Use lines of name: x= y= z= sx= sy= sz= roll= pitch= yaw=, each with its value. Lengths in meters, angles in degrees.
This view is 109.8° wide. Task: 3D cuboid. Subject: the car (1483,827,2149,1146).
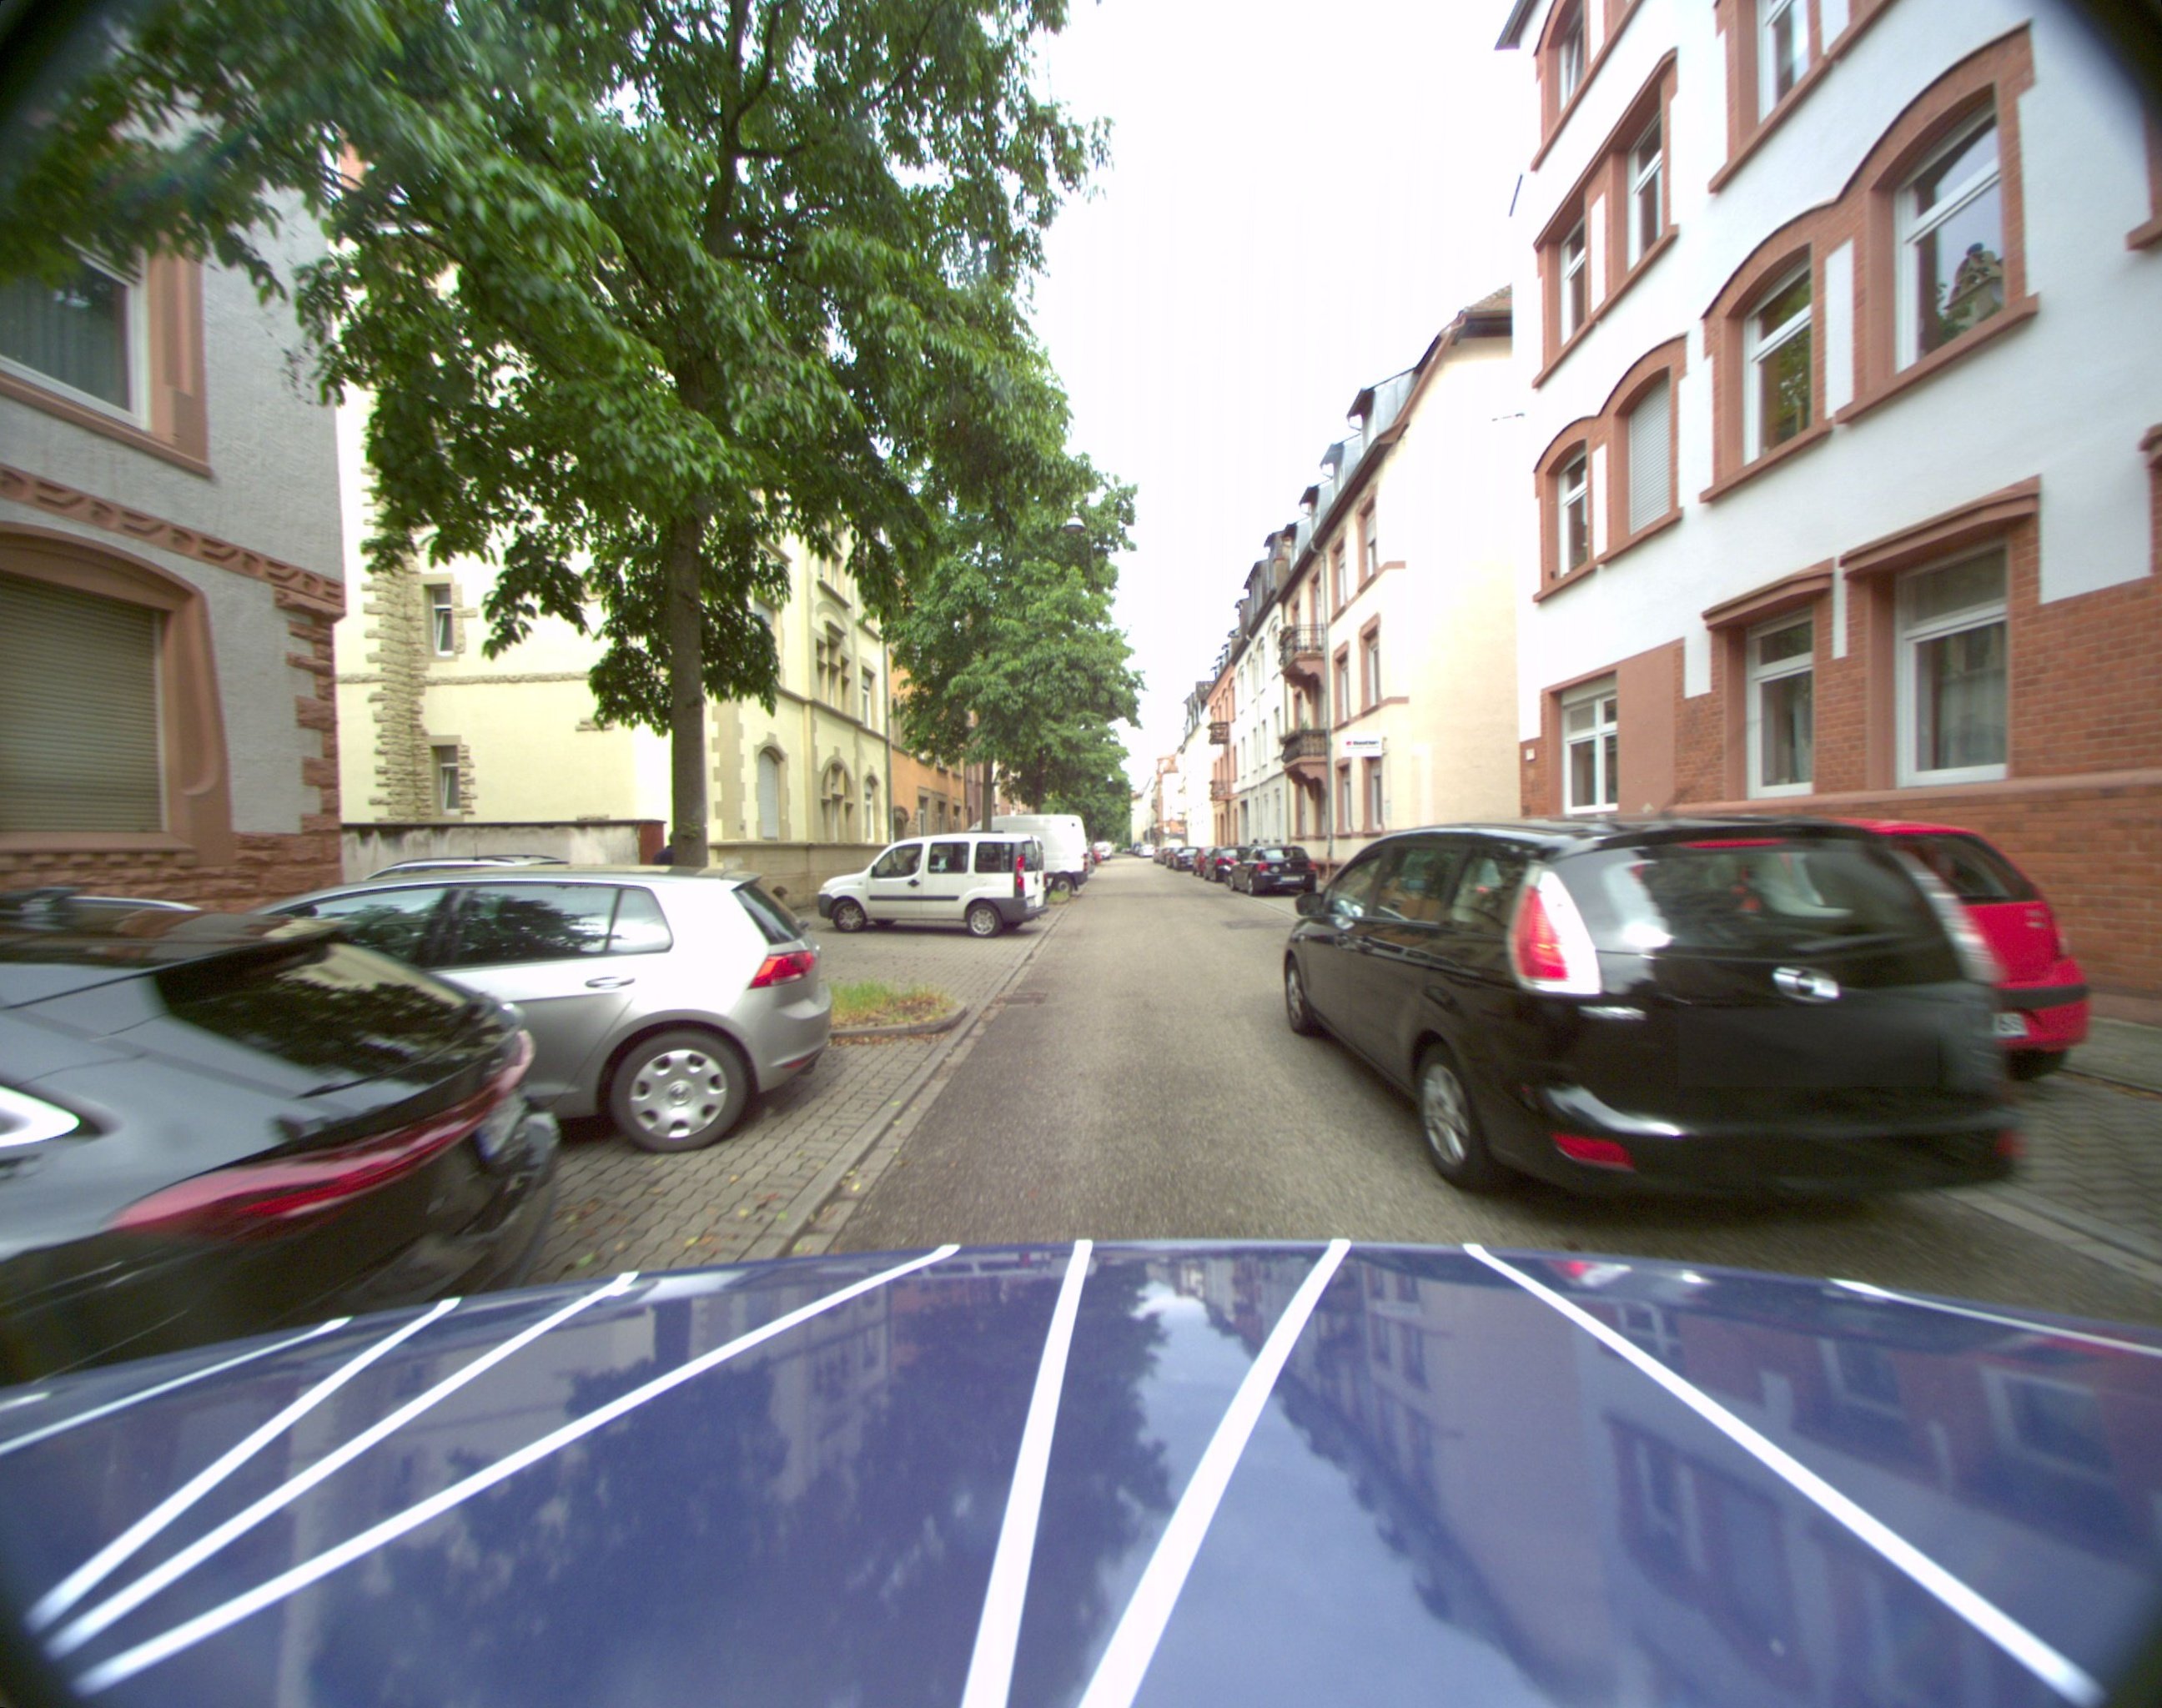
car: x=4.564 y=0.657 z=5.534 sx=1.468 sy=1.521 sz=3.569 roll=-3 pitch=0 yaw=3

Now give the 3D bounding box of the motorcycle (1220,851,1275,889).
motorcycle: x=5.646 y=0.536 z=25.760 sx=1.710 sy=1.218 sz=0.487 roll=-2 pitch=1 yaw=21

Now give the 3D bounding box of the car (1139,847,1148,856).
car: x=11.310 y=-0.458 z=138.200 sx=1.456 sy=1.401 sz=3.811 roll=-3 pitch=0 yaw=4

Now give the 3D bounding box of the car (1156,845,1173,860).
car: x=8.364 y=-0.184 z=76.053 sx=1.456 sy=1.401 sz=3.811 roll=-3 pitch=0 yaw=4

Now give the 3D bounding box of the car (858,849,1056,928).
car: x=-2.914 y=0.729 z=17.999 sx=4.283 sy=1.608 sz=1.758 roll=-2 pitch=1 yaw=-26

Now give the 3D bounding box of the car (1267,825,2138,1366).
car: x=2.376 y=0.708 z=4.416 sx=1.813 sy=1.621 sz=4.208 roll=-1 pitch=1 yaw=4

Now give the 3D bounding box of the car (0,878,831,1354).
car: x=-3.180 y=1.007 z=3.972 sx=3.471 sy=1.554 sz=1.783 roll=-2 pitch=1 yaw=-19

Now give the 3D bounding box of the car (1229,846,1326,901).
car: x=5.532 y=0.484 z=21.920 sx=1.904 sy=1.382 sz=4.000 roll=-2 pitch=1 yaw=3

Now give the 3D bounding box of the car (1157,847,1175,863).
car: x=7.967 y=0.057 z=71.266 sx=1.456 sy=1.401 sz=3.811 roll=-3 pitch=0 yaw=4

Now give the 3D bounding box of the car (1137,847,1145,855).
car: x=11.642 y=-0.612 z=148.025 sx=1.456 sy=1.401 sz=3.811 roll=-3 pitch=0 yaw=4

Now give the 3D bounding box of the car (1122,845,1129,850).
car: x=12.560 y=-1.755 z=214.097 sx=1.458 sy=1.401 sz=3.808 roll=-1 pitch=1 yaw=-6

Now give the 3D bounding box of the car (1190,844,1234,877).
car: x=6.232 y=0.291 z=36.434 sx=1.610 sy=1.463 sz=3.343 roll=-1 pitch=1 yaw=2

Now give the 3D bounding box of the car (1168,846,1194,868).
car: x=6.700 y=0.182 z=51.292 sx=1.456 sy=1.401 sz=3.811 roll=-3 pitch=0 yaw=4

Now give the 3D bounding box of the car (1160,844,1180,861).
car: x=7.778 y=-0.113 z=66.631 sx=1.456 sy=1.401 sz=3.811 roll=-3 pitch=0 yaw=4

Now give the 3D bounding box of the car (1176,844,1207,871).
car: x=6.483 y=0.190 z=44.809 sx=1.457 sy=1.402 sz=3.041 roll=-3 pitch=2 yaw=3

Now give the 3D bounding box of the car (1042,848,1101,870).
car: x=-0.705 y=0.352 z=57.133 sx=4.149 sy=1.490 sz=1.838 roll=-2 pitch=1 yaw=-10

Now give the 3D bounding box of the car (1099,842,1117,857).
car: x=3.378 y=-0.588 z=95.667 sx=1.998 sy=1.740 sz=4.001 roll=-2 pitch=1 yaw=5

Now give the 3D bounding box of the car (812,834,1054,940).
car: x=-2.653 y=0.580 z=14.031 sx=3.993 sy=1.801 sz=1.721 roll=-1 pitch=1 yaw=11

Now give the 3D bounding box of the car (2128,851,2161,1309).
car: x=4.398 y=0.727 z=0.797 sx=1.670 sy=1.502 sz=3.553 roll=-2 pitch=1 yaw=-1

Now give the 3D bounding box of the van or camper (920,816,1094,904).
van or camper: x=-2.343 y=0.128 z=24.306 sx=5.076 sy=2.576 sz=2.069 roll=-2 pitch=1 yaw=-27

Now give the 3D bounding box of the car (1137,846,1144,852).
car: x=13.026 y=-1.091 z=166.466 sx=1.456 sy=1.401 sz=3.811 roll=-1 pitch=1 yaw=4

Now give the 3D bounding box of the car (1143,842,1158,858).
car: x=10.071 y=-0.569 z=110.322 sx=2.052 sy=2.071 sz=3.811 roll=-3 pitch=0 yaw=4

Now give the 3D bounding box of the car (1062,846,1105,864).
car: x=0.251 y=0.095 z=68.669 sx=3.607 sy=1.458 sz=1.629 roll=-2 pitch=1 yaw=-10

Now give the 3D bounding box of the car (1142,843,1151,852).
car: x=10.839 y=-1.133 z=125.917 sx=1.456 sy=1.401 sz=3.811 roll=-3 pitch=0 yaw=4

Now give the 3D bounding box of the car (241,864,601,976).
car: x=-9.683 y=0.931 z=11.347 sx=3.996 sy=1.445 sz=1.609 roll=-1 pitch=1 yaw=2

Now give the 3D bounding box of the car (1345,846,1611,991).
car: x=4.719 y=0.649 z=9.698 sx=1.468 sy=1.408 sz=3.918 roll=-3 pitch=0 yaw=3

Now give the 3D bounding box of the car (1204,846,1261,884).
car: x=5.960 y=0.395 z=30.216 sx=1.659 sy=1.375 sz=3.472 roll=-3 pitch=1 yaw=3

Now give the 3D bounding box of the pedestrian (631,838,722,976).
pedestrian: x=-5.500 y=0.694 z=10.371 sx=0.703 sy=1.801 sz=0.817 roll=-2 pitch=1 yaw=4

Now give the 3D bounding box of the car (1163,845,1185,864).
car: x=7.507 y=0.016 z=61.536 sx=1.456 sy=1.401 sz=3.811 roll=-3 pitch=0 yaw=4

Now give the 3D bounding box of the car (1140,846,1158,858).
car: x=8.876 y=-0.255 z=99.435 sx=2.081 sy=1.446 sz=4.254 roll=-3 pitch=0 yaw=4

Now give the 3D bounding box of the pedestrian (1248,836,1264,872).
pedestrian: x=7.853 y=0.007 z=34.038 sx=0.577 sy=1.600 sz=0.544 roll=-2 pitch=1 yaw=3

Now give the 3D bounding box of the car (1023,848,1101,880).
car: x=-0.980 y=0.481 z=39.185 sx=3.611 sy=1.458 sz=1.626 roll=-2 pitch=1 yaw=-28

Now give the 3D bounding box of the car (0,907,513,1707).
car: x=-3.373 y=0.967 z=1.207 sx=3.699 sy=1.458 sz=1.701 roll=-2 pitch=1 yaw=-28
